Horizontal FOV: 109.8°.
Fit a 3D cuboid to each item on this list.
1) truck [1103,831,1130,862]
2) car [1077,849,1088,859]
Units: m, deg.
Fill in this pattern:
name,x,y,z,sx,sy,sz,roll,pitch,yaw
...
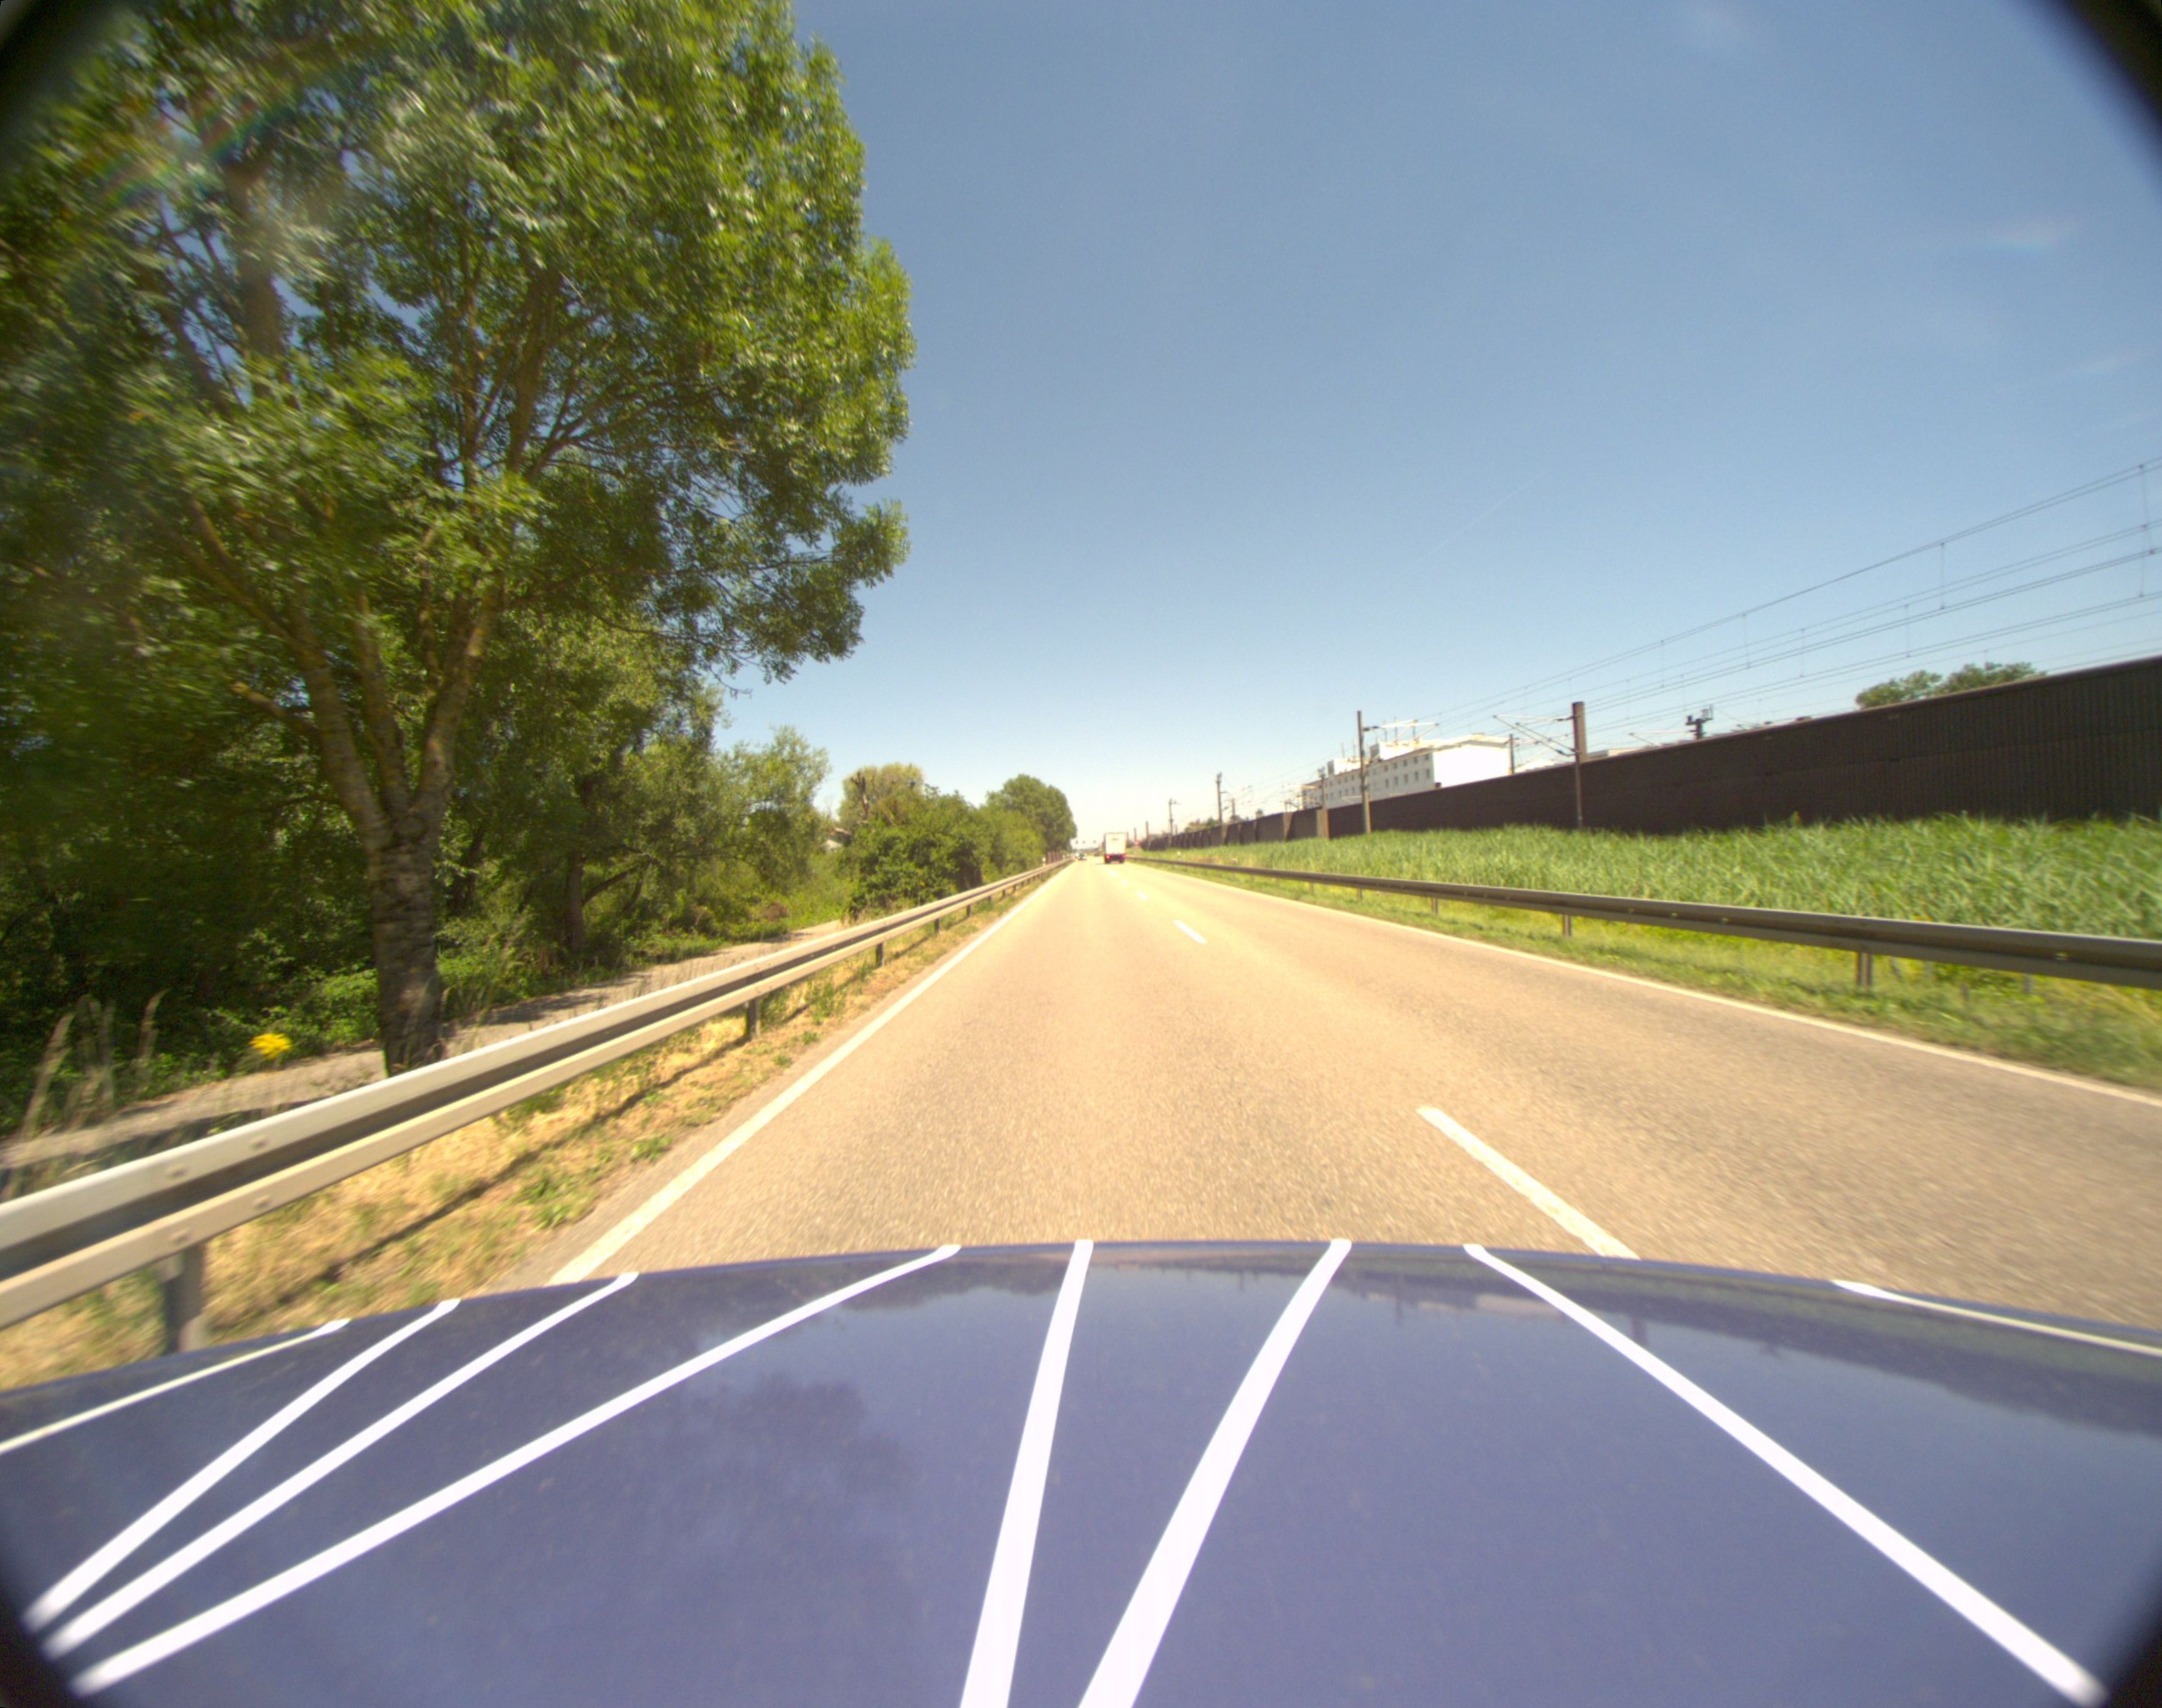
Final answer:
name,x,y,z,sx,sy,sz,roll,pitch,yaw
truck,4.732,-0.977,102.407,2.804,3.955,10.498,-2,0,-1
car,0.285,-0.002,157.162,1.999,2.002,3.999,-2,0,-1
